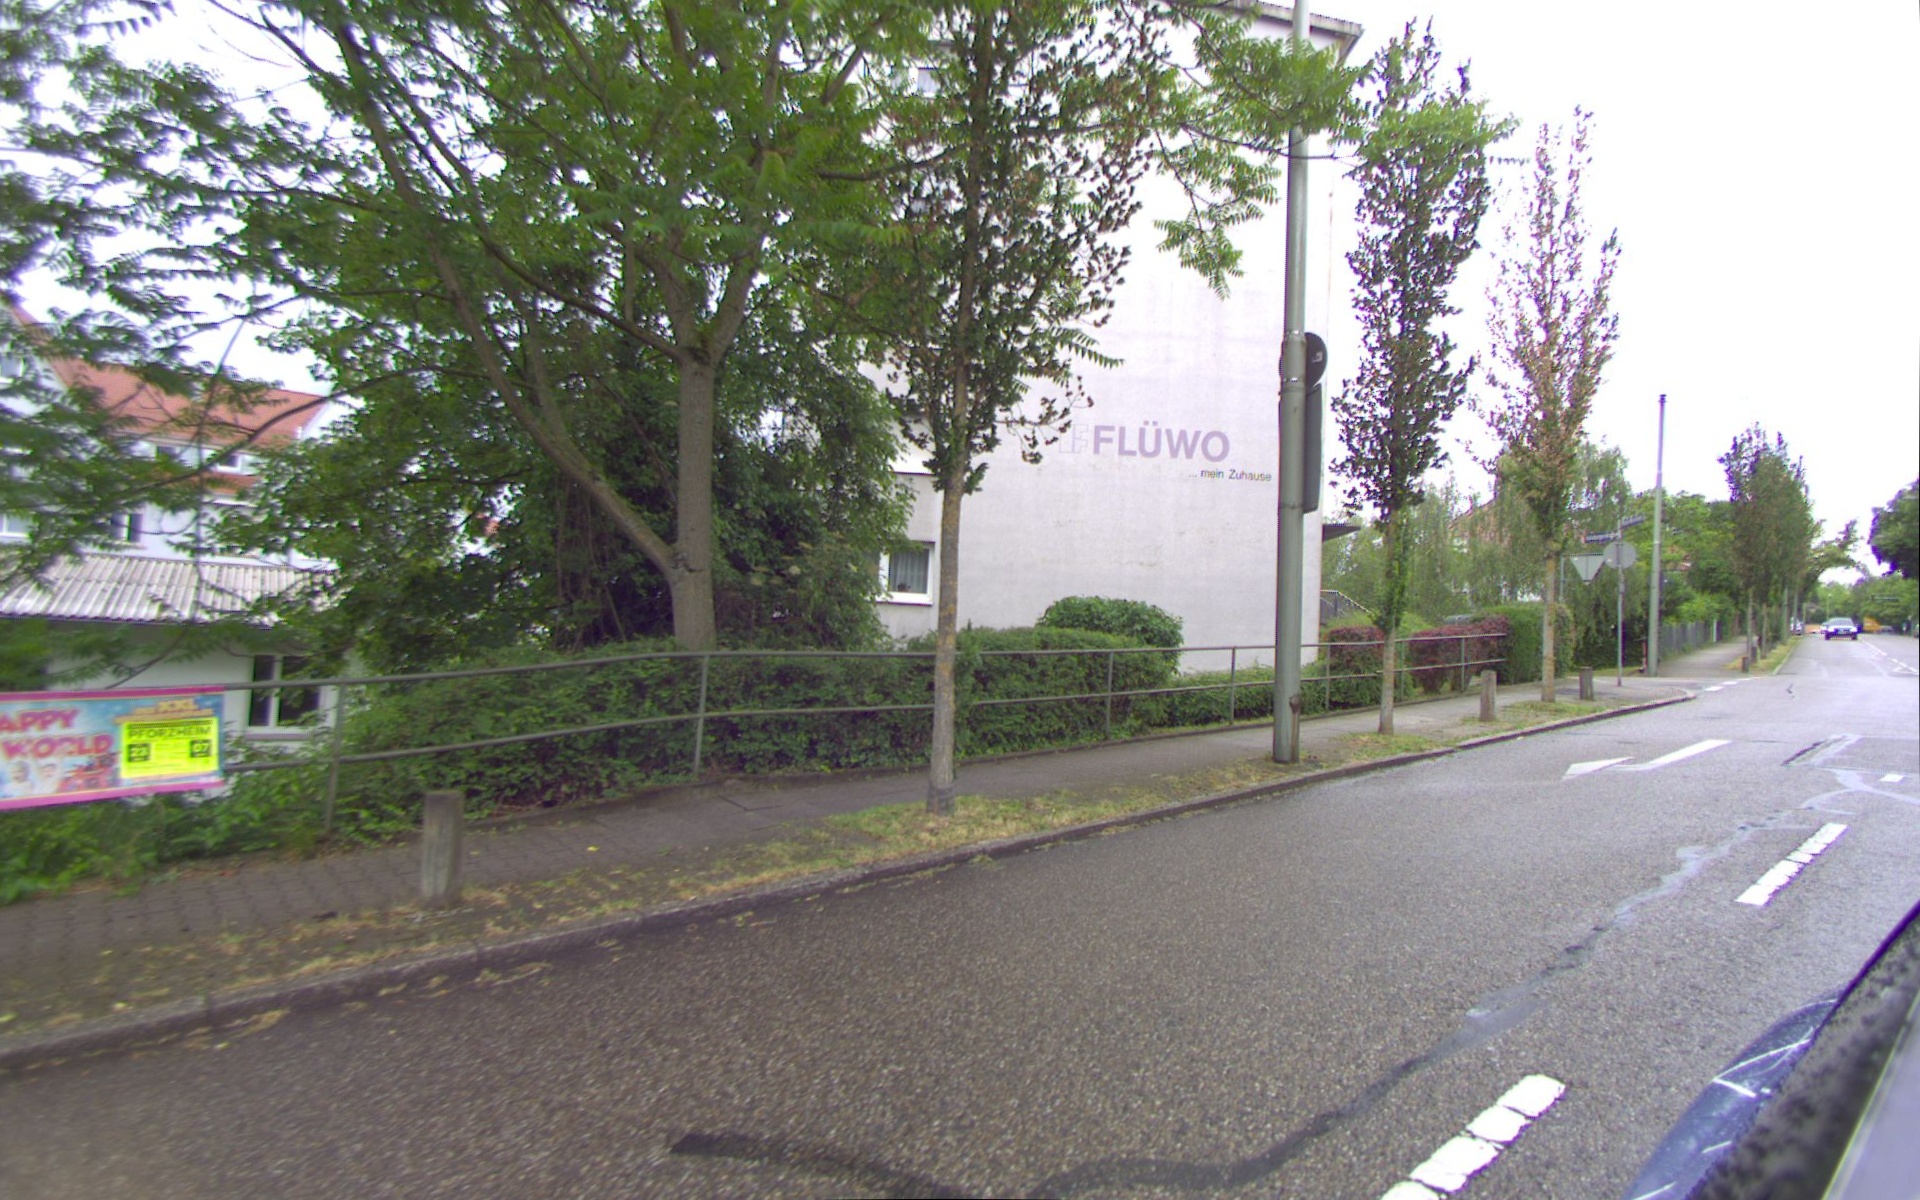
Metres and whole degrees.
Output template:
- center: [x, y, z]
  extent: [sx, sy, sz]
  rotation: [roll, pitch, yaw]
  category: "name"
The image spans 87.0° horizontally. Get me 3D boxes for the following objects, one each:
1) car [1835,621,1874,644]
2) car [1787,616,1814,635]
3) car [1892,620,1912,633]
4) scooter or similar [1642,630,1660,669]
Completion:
- center: [67.738, 2.462, 76.591]
  extent: [1.993, 1.706, 3.936]
  rotation: [-4, -4, 43]
  category: "car"
- center: [75.135, 2.274, 90.524]
  extent: [1.822, 1.650, 3.943]
  rotation: [1, 0, 39]
  category: "car"
- center: [129.555, 3.662, 139.243]
  extent: [1.744, 1.568, 3.860]
  rotation: [4, 2, 40]
  category: "car"
- center: [23.972, 1.713, 35.084]
  extent: [0.342, 1.270, 1.249]
  rotation: [-4, -2, 39]
  category: "scooter or similar"
